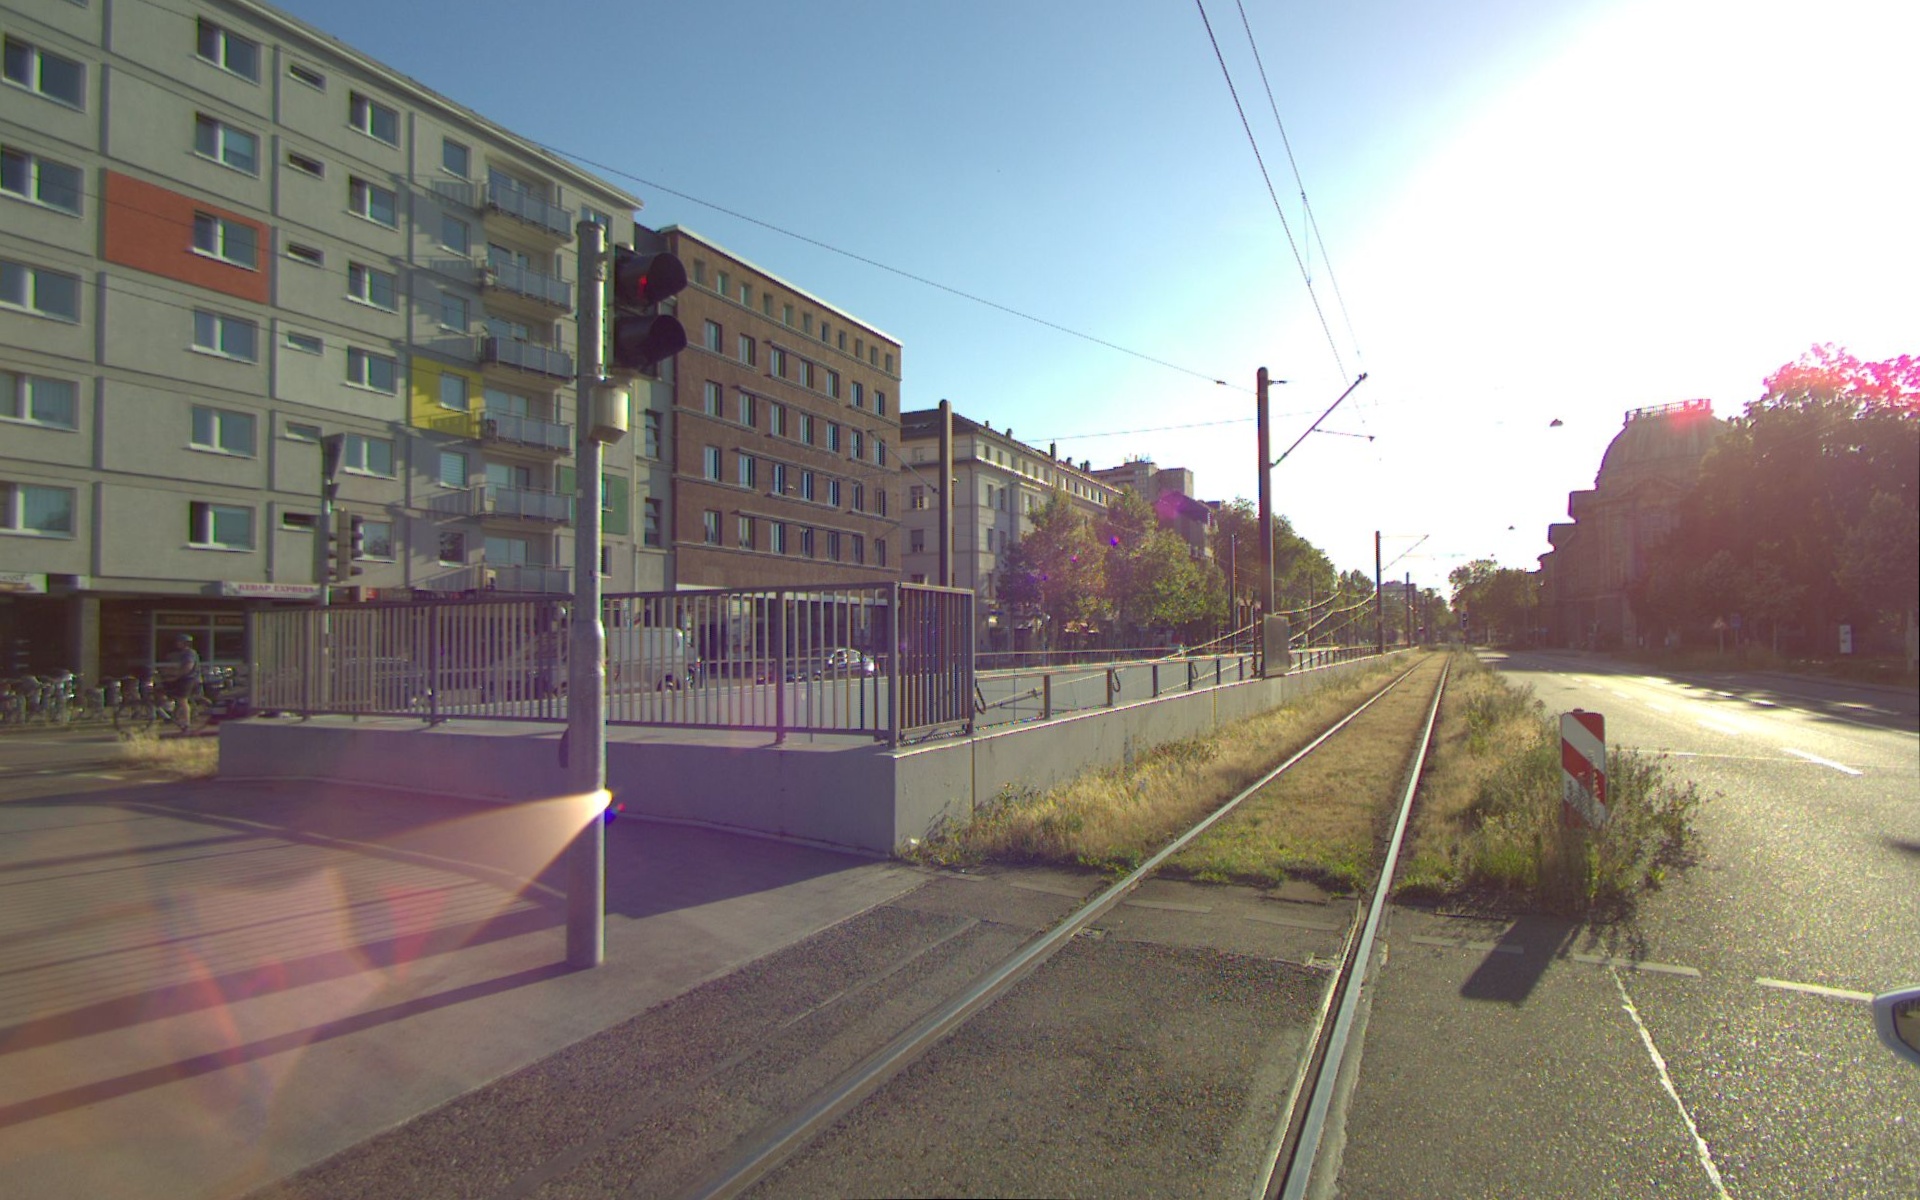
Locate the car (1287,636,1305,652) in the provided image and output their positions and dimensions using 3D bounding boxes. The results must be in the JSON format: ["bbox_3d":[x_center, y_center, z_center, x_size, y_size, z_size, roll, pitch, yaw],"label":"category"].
[{"bbox_3d":[50.016,6.516,149.355,1.963,2.274,3.996,-2,-3,26],"label":"car"}]

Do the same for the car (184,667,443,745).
[{"bbox_3d":[-13.146,2.093,20.729,1.768,1.330,4.197,-2,-3,26],"label":"car"}]

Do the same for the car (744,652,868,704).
[{"bbox_3d":[-4.573,2.322,30.400,1.768,1.392,3.910,-3,-4,26],"label":"car"}]

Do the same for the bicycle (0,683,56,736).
[{"bbox_3d":[-20.855,2.379,22.068,2.258,1.065,0.736,-2,-3,28],"label":"bicycle"}]

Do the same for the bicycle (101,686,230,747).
[{"bbox_3d":[-15.784,2.289,19.998,0.934,1.111,1.780,-3,-4,28],"label":"bicycle"}]

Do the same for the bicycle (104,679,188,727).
[{"bbox_3d":[-19.674,2.474,24.274,2.258,1.065,0.736,-2,-3,28],"label":"bicycle"}]

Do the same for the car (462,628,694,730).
[{"bbox_3d":[-8.469,1.708,22.821,1.963,2.040,4.934,-2,-3,26],"label":"car"}]

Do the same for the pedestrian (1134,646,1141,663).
[{"bbox_3d":[18.151,5.615,102.749,0.482,1.731,0.549,-1,-2,27],"label":"pedestrian"}]

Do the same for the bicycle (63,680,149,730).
[{"bbox_3d":[-20.052,2.445,23.575,2.258,1.065,0.736,-2,-3,28],"label":"bicycle"}]

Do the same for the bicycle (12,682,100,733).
[{"bbox_3d":[-20.516,2.417,22.787,2.258,1.065,0.736,-2,-3,28],"label":"bicycle"}]

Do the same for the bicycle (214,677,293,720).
[{"bbox_3d":[-18.578,2.565,26.402,2.258,1.065,0.736,-2,-3,28],"label":"bicycle"}]

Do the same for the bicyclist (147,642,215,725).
[{"bbox_3d":[-15.691,1.679,20.234,0.946,1.618,0.737,-3,-4,28],"label":"bicyclist"}]

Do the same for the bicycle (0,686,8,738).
[{"bbox_3d":[-21.200,2.371,21.327,2.258,1.065,0.736,-2,-3,28],"label":"bicycle"}]

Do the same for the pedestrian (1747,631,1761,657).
[{"bbox_3d":[56.901,3.152,71.952,0.674,1.846,0.534,-2,-2,32],"label":"pedestrian"}]

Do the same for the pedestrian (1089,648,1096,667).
[{"bbox_3d":[12.038,5.236,91.354,0.482,1.731,0.549,-1,-2,27],"label":"pedestrian"}]

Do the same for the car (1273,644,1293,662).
[{"bbox_3d":[37.971,6.226,118.153,1.961,2.040,4.000,-2,-3,22],"label":"car"}]

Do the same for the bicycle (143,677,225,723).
[{"bbox_3d":[-19.293,2.467,24.950,2.258,1.065,0.736,-2,-3,28],"label":"bicycle"}]

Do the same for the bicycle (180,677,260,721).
[{"bbox_3d":[-18.921,2.511,25.663,2.258,1.065,0.736,-2,-3,28],"label":"bicycle"}]
